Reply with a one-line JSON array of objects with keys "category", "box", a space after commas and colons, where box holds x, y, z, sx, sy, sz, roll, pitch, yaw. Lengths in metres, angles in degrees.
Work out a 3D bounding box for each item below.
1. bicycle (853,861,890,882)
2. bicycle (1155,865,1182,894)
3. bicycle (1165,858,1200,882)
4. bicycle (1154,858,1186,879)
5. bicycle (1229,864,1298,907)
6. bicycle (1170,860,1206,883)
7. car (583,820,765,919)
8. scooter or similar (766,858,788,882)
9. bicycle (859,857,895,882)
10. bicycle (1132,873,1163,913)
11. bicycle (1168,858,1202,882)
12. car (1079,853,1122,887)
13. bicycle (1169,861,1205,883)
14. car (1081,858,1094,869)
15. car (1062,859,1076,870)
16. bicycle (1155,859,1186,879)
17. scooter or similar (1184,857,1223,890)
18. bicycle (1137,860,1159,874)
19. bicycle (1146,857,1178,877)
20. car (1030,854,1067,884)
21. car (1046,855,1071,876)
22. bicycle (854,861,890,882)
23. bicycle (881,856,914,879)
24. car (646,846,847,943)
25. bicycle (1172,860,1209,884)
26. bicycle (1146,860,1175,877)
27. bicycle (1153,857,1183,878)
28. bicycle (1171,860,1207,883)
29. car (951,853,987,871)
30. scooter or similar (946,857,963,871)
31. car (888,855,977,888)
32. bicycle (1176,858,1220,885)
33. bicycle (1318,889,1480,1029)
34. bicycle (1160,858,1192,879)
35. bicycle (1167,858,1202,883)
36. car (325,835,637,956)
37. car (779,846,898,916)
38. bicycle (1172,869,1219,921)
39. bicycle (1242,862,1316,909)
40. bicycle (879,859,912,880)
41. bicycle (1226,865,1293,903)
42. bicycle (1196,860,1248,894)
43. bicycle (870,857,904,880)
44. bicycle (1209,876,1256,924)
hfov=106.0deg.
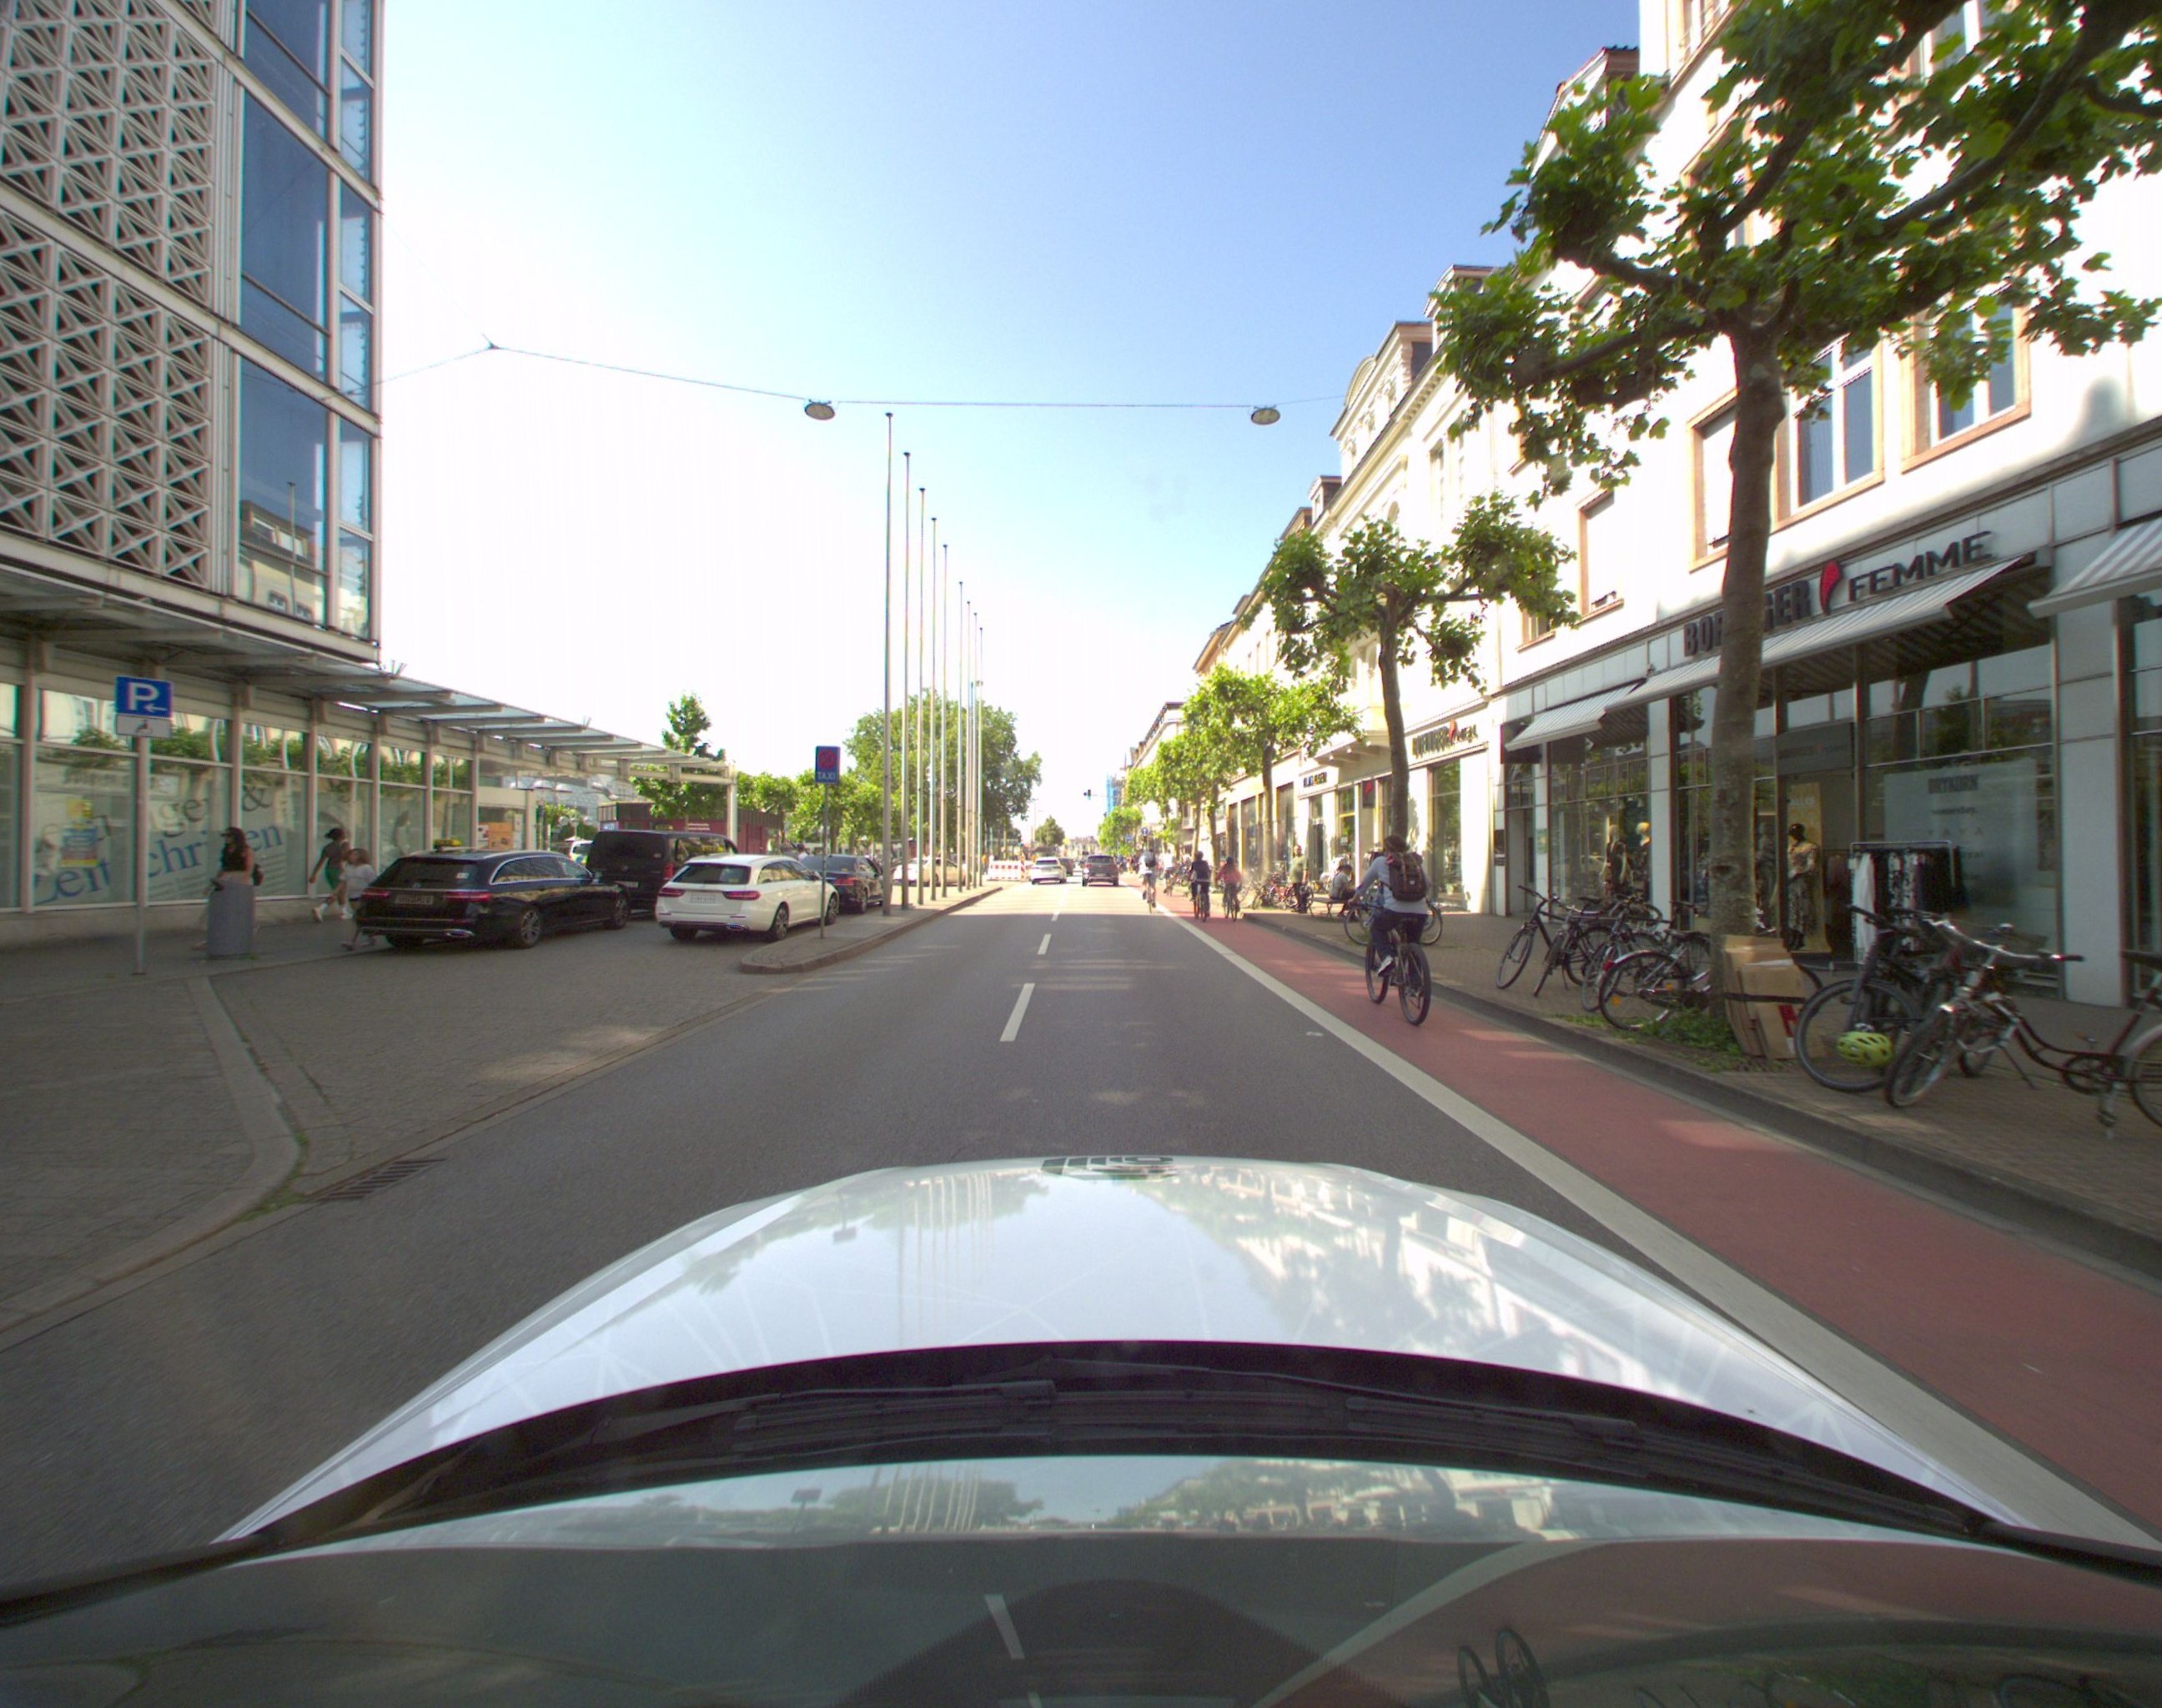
[{"category": "bicycle", "box": [-11.024, 0.918, 42.929, 1.778, 1.105, 0.562, 0, 0, -4]}, {"category": "bicycle", "box": [3.319, 0.961, 31.051, 0.772, 1.006, 2.329, 0, 0, 0]}, {"category": "bicycle", "box": [5.190, 0.830, 41.590, 1.722, 1.217, 0.478, 0, -1, 2]}, {"category": "bicycle", "box": [5.294, 0.865, 48.537, 1.837, 1.201, 0.609, 0, 0, 2]}, {"category": "bicycle", "box": [5.015, 0.857, 22.475, 1.828, 1.127, 0.499, 1, -1, 10]}, {"category": "bicycle", "box": [5.245, 0.873, 40.085, 1.722, 1.109, 0.402, 0, -1, 2]}, {"category": "car", "box": [-9.137, 0.311, 18.795, 1.826, 2.013, 4.685, 0, 0, 0]}, {"category": "scooter or similar", "box": [-15.603, 0.793, 41.844, 0.262, 1.214, 1.309, 0, 0, 19]}, {"category": "bicycle", "box": [-11.064, 0.833, 44.188, 1.778, 1.309, 0.562, 0, 0, -4]}, {"category": "bicycle", "box": [1.735, 1.003, 21.470, 0.628, 0.980, 2.088, 0, -1, -1]}, {"category": "bicycle", "box": [5.375, 0.837, 42.082, 1.722, 1.217, 0.478, 0, -1, 2]}, {"category": "car", "box": [0.932, 0.748, 40.252, 1.841, 1.559, 3.996, -1, 0, -3]}, {"category": "bicycle", "box": [5.280, 0.891, 40.504, 1.722, 1.109, 0.478, 0, -1, 2]}, {"category": "car", "box": [1.028, 1.434, 126.672, 1.840, 1.668, 3.996, 1, 0, -2]}, {"category": "car", "box": [-1.504, 1.318, 102.651, 1.840, 1.413, 3.998, 0, 0, -1]}, {"category": "bicycle", "box": [5.413, 0.892, 49.168, 1.837, 1.164, 0.659, 0, 0, 2]}, {"category": "scooter or similar", "box": [4.882, 0.781, 32.422, 1.465, 1.274, 0.672, 1, -1, 10]}, {"category": "bicycle", "box": [5.164, 1.025, 62.884, 0.604, 1.082, 1.819, -2, 0, -35]}, {"category": "bicycle", "box": [5.270, 0.857, 52.949, 1.939, 1.257, 0.700, 0, 0, -20]}, {"category": "car", "box": [-1.726, 0.798, 44.965, 1.839, 1.560, 4.000, -1, 0, 0]}, {"category": "car", "box": [-1.664, 0.856, 61.183, 1.840, 1.449, 3.998, -1, 0, -1]}, {"category": "bicycle", "box": [-11.177, 0.921, 43.615, 1.778, 1.132, 0.562, 0, 0, -4]}, {"category": "bicycle", "box": [-11.220, 0.834, 49.815, 1.778, 1.348, 0.740, 2, -1, -3]}, {"category": "car", "box": [-6.019, 0.637, 15.364, 1.793, 1.523, 4.738, 1, 0, 0]}, {"category": "bicycle", "box": [5.218, 0.849, 38.818, 1.722, 1.109, 0.736, 0, 0, 2]}, {"category": "bicycle", "box": [5.248, 0.952, 53.829, 1.778, 1.122, 0.562, -1, 0, -4]}, {"category": "bicycle", "box": [5.577, 0.848, 52.355, 1.827, 1.309, 0.684, 0, 0, -21]}, {"category": "bicycle", "box": [5.269, 0.843, 39.671, 1.722, 1.109, 0.402, 0, -1, 2]}, {"category": "car", "box": [-12.102, 0.869, 88.419, 1.843, 1.955, 4.785, 0, -1, 21]}, {"category": "scooter or similar", "box": [-12.430, 0.965, 80.021, 1.264, 1.421, 1.045, -1, -1, 30]}, {"category": "car", "box": [-7.501, 0.844, 41.589, 1.873, 1.542, 4.890, 1, 0, 27]}, {"category": "bicycle", "box": [5.351, 0.798, 37.339, 1.924, 1.248, 0.736, 0, 0, 2]}, {"category": "bicycle", "box": [3.078, 0.964, 8.133, 0.697, 1.127, 2.079, 1, 0, -3]}, {"category": "bicycle", "box": [5.494, 0.856, 47.227, 1.837, 1.201, 0.474, 0, -1, 2]}, {"category": "bicycle", "box": [5.197, 0.817, 40.865, 1.722, 1.217, 0.478, 0, -1, 2]}, {"category": "car", "box": [-9.258, 0.577, 13.169, 1.990, 1.610, 4.393, 1, 0, -5]}, {"category": "car", "box": [-6.128, 0.623, 21.159, 1.756, 1.600, 4.707, 0, 0, -1]}, {"category": "bicycle", "box": [2.698, 0.944, 19.370, 0.697, 1.127, 2.079, 1, 0, -3]}, {"category": "bicycle", "box": [5.180, 0.812, 21.411, 1.830, 1.197, 0.675, 0, -1, 7]}, {"category": "bicycle", "box": [-10.886, 0.892, 47.799, 1.778, 1.215, 0.662, 0, 0, -4]}, {"category": "bicycle", "box": [5.270, 0.875, 24.132, 1.831, 1.097, 0.795, 0, -1, 4]}, {"category": "bicycle", "box": [5.222, 0.838, 30.240, 1.831, 1.186, 0.671, 1, -1, 4]}, {"category": "bicycle", "box": [-11.046, 0.828, 46.409, 1.778, 1.309, 0.662, 0, 0, -4]}, {"category": "bicycle", "box": [3.588, 1.069, 19.417, 0.599, 0.925, 2.085, -1, 2, -3]}]
